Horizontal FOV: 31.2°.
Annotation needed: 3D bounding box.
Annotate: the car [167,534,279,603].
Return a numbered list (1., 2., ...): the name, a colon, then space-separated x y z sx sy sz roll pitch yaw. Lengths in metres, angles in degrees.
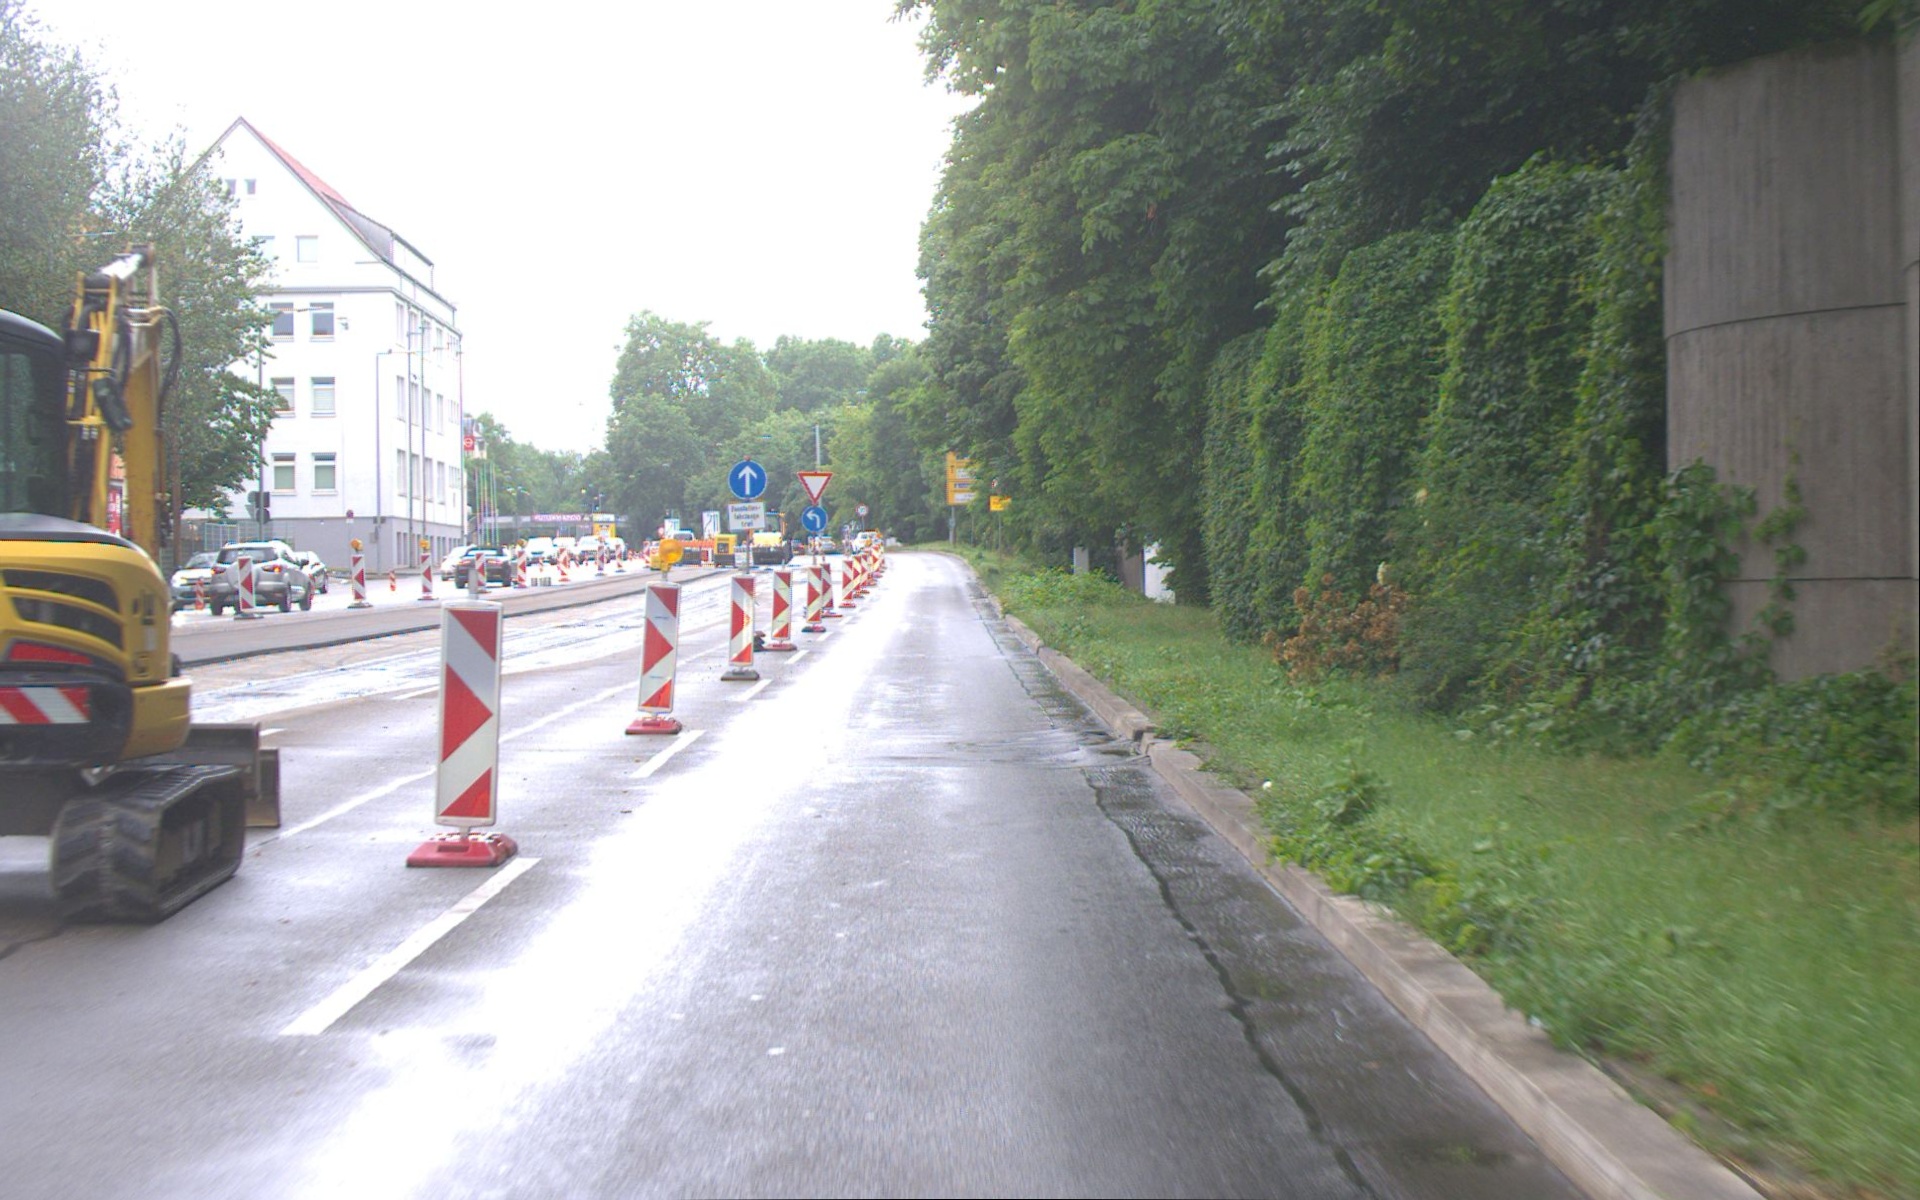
1. car: -19.184 -0.825 89.626 1.993 1.760 4.279 0 1 0

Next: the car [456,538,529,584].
1. car: -16.017 -1.333 117.834 1.993 1.514 4.000 0 1 -1

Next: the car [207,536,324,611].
1. car: -15.736 -0.598 78.061 1.854 1.642 4.000 0 1 0

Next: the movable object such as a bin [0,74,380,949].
1. movable object such as a bin: -4.232 -0.375 16.186 1.993 3.356 5.982 0 1 0
